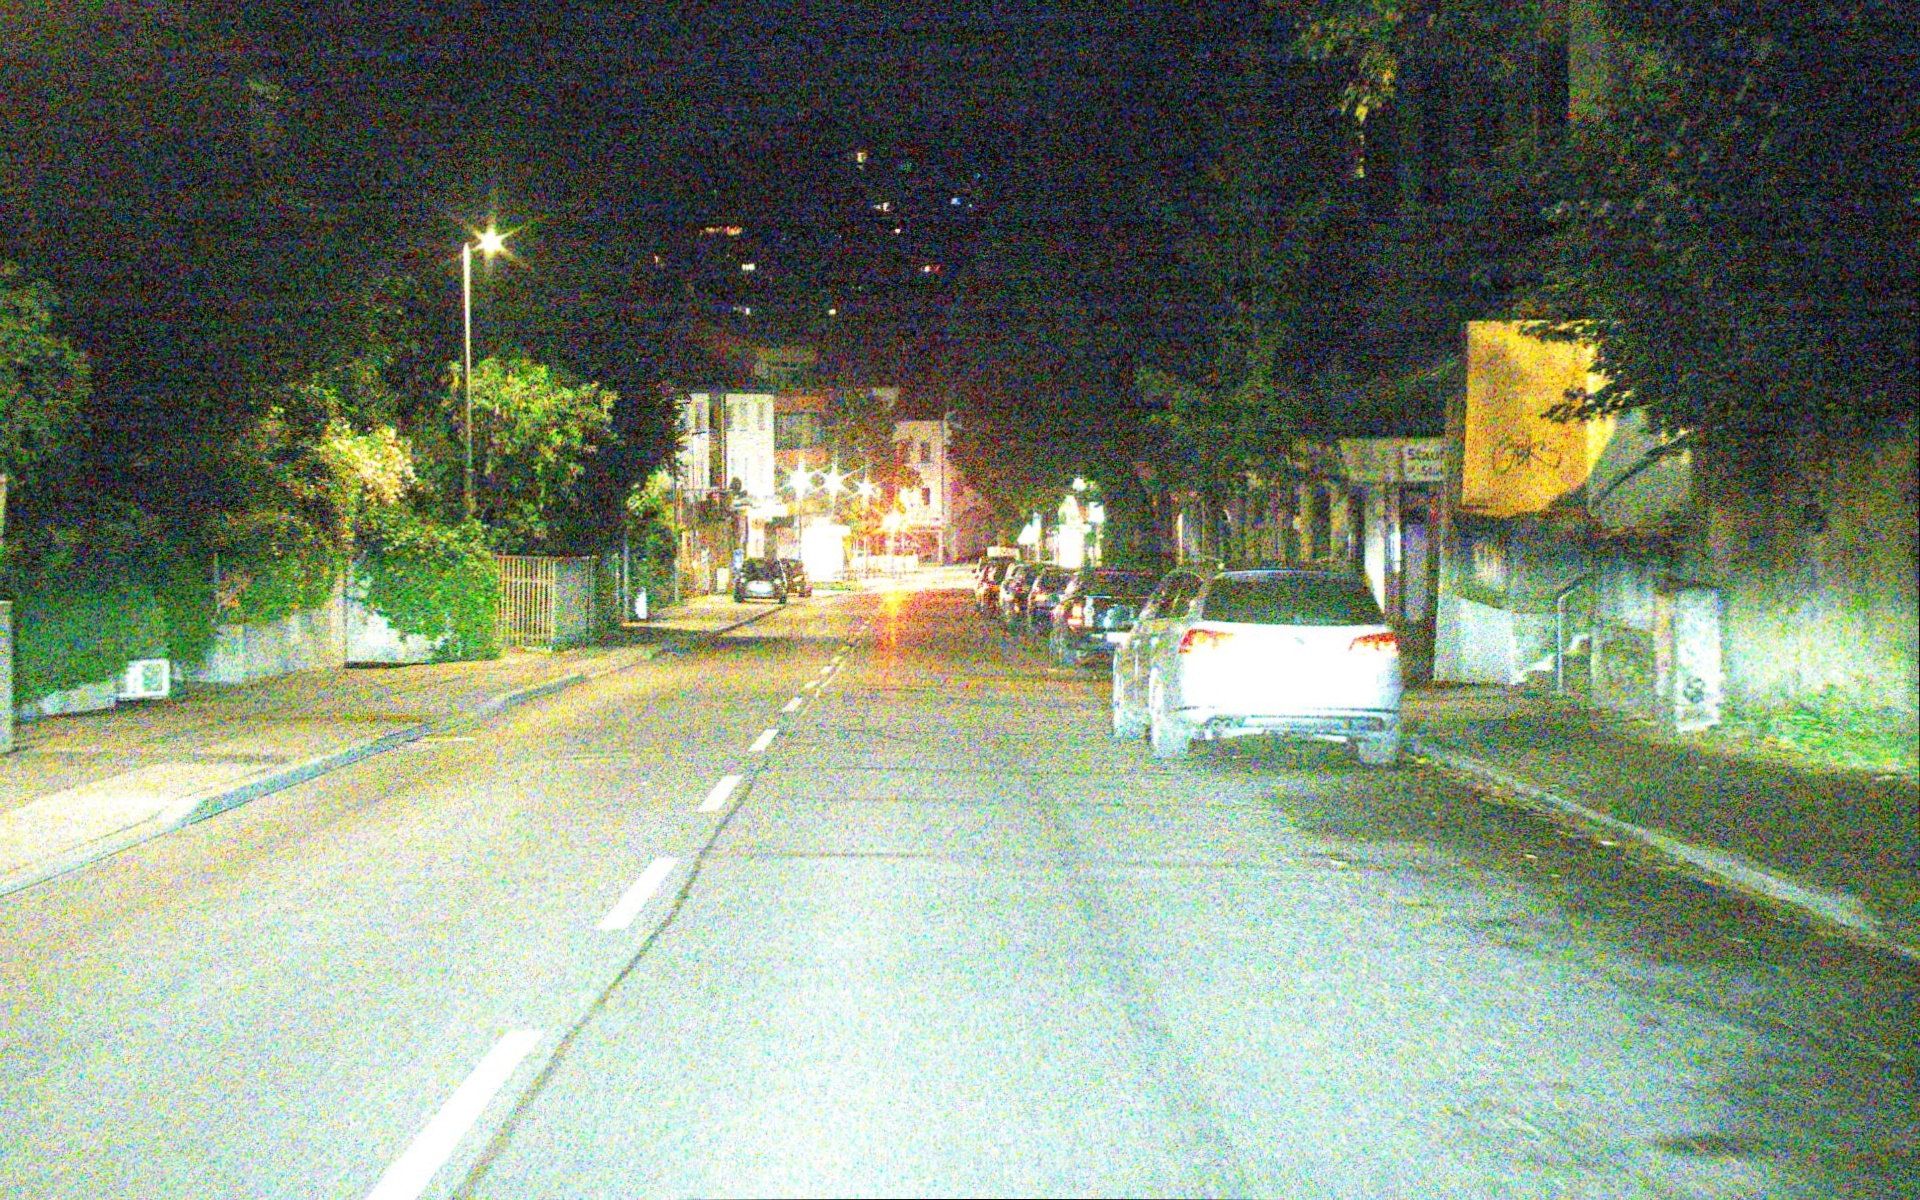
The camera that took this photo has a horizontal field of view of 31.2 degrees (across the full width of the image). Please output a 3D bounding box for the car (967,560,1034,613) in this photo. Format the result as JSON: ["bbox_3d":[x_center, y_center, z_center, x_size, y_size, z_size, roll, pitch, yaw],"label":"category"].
[{"bbox_3d":[1.161,-0.407,100.316,1.682,1.443,4.001,1,1,-3],"label":"car"}]

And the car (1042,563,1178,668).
[{"bbox_3d":[2.117,0.192,49.434,1.629,1.434,3.865,0,1,-2],"label":"car"}]

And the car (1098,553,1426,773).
[{"bbox_3d":[2.197,0.413,26.125,1.763,1.470,4.277,2,1,-4],"label":"car"}]

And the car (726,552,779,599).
[{"bbox_3d":[-7.017,-0.834,115.881,1.753,1.534,3.731,0,1,-4],"label":"car"}]

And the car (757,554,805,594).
[{"bbox_3d":[-6.912,-1.021,133.005,1.753,1.534,3.731,0,1,-2],"label":"car"}]

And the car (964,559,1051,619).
[{"bbox_3d":[1.207,-0.301,89.138,1.682,1.443,4.001,1,1,-7],"label":"car"}]

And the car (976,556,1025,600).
[{"bbox_3d":[1.409,-0.782,120.725,1.682,1.534,4.000,0,1,0],"label":"car"}]

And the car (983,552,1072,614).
[{"bbox_3d":[1.634,-0.427,84.495,1.682,1.443,4.001,1,1,-6],"label":"car"}]

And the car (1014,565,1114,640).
[{"bbox_3d":[2.110,0.031,69.045,1.868,1.398,4.000,1,1,3],"label":"car"}]

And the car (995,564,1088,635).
[{"bbox_3d":[1.726,-0.035,73.891,1.682,1.443,4.001,1,1,-3],"label":"car"}]
